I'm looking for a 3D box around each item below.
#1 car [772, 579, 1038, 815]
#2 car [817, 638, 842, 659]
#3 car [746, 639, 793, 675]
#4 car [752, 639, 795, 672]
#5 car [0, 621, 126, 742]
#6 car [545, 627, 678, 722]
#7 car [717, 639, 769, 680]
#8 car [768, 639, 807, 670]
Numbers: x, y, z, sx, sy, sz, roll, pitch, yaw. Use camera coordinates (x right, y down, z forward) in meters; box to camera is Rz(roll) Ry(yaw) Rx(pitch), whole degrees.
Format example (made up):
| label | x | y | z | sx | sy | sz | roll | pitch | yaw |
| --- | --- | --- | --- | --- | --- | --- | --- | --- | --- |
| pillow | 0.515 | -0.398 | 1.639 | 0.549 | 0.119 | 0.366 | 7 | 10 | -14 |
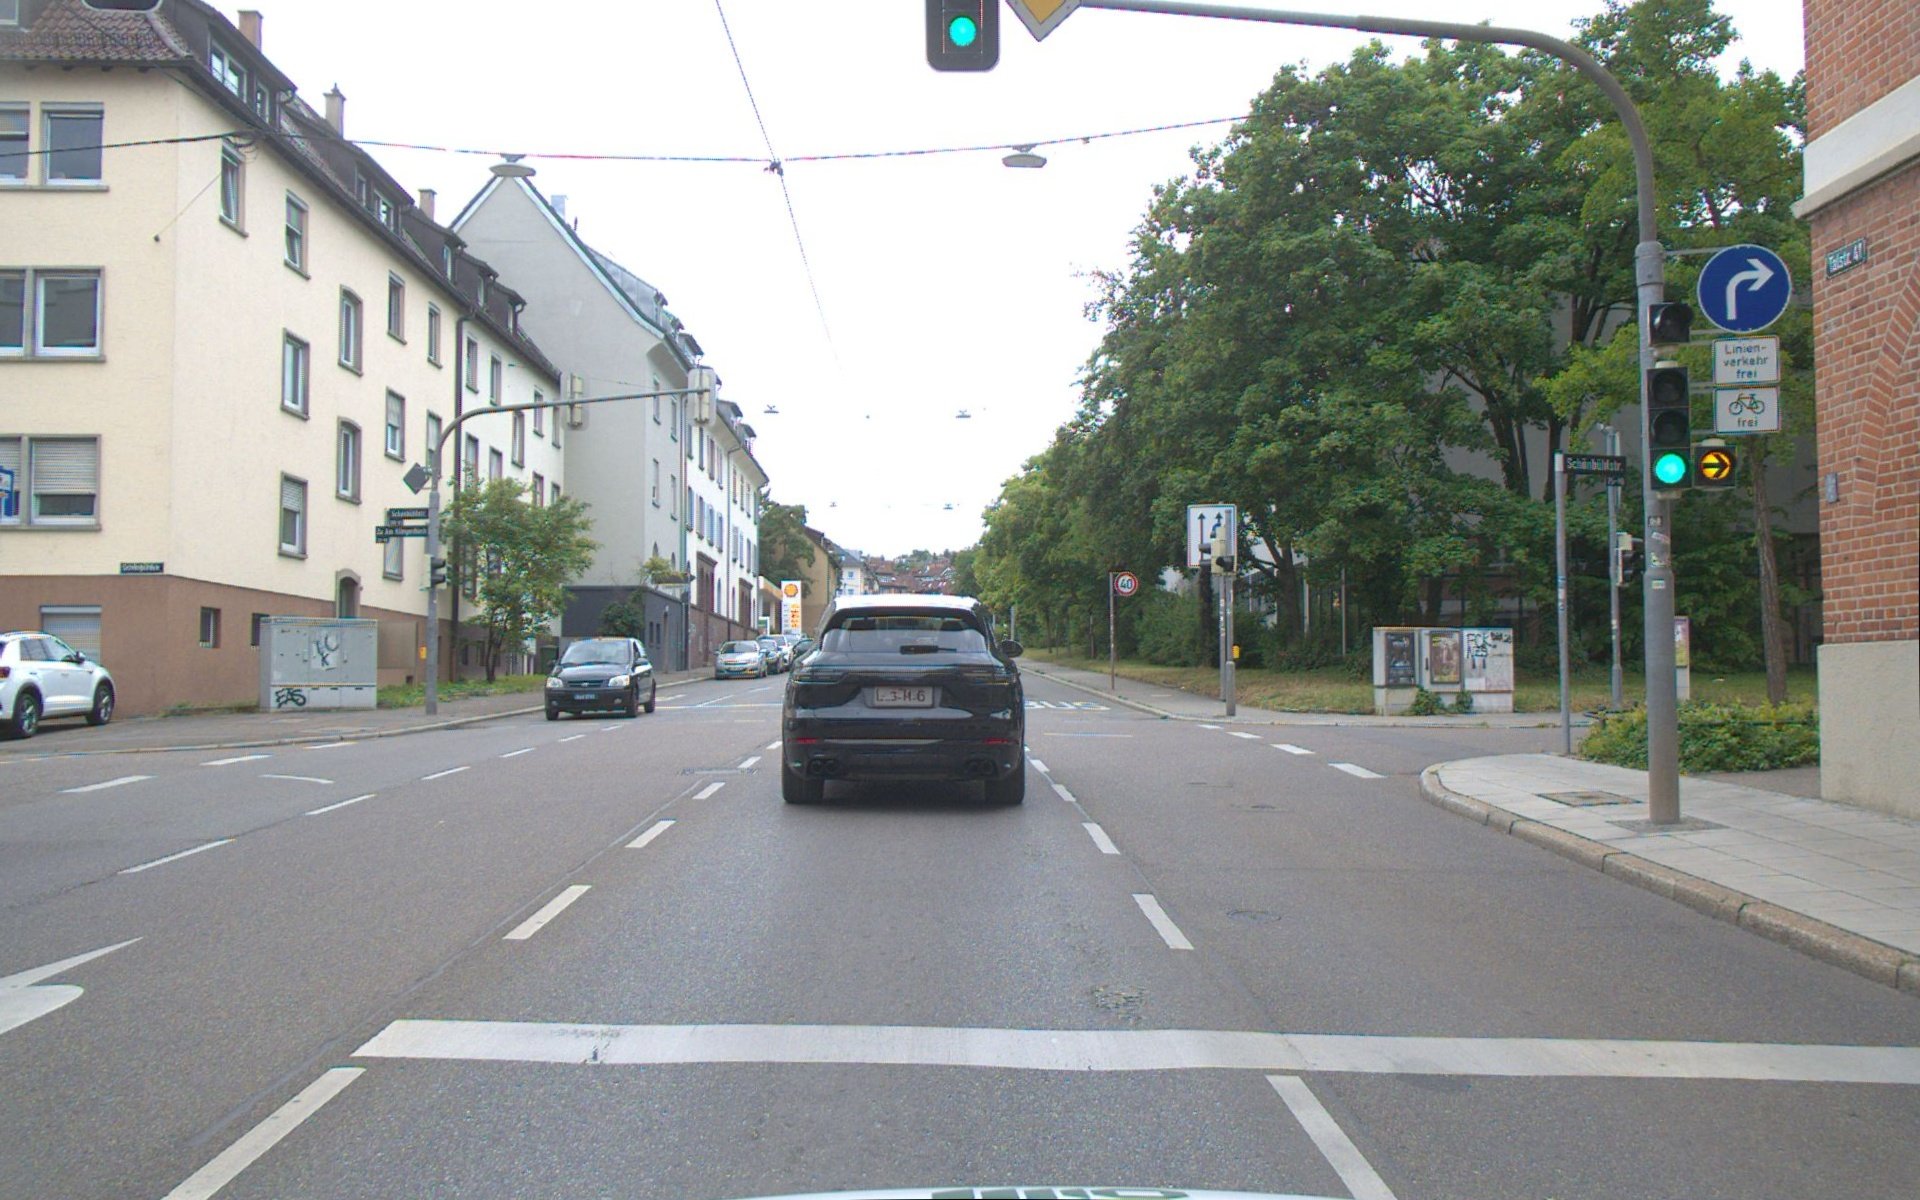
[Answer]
| label | x | y | z | sx | sy | sz | roll | pitch | yaw |
| --- | --- | --- | --- | --- | --- | --- | --- | --- | --- |
| car | -0.437 | 0.736 | 14.365 | 1.953 | 1.726 | 3.999 | 1 | 0 | -1 |
| car | -9.301 | 3.437 | 117.969 | 1.636 | 1.386 | 3.998 | 0 | 0 | -3 |
| car | -7.940 | 2.354 | 69.142 | 1.636 | 1.386 | 3.998 | 0 | 0 | -3 |
| car | -8.453 | 2.501 | 75.125 | 1.636 | 1.386 | 3.998 | 0 | 0 | -3 |
| car | -14.654 | 1.234 | 25.662 | 1.637 | 1.691 | 3.995 | -3 | 0 | -5 |
| car | -6.476 | 1.349 | 31.077 | 1.630 | 1.545 | 3.739 | -3 | 0 | 0 |
| car | -8.033 | 2.188 | 61.506 | 1.637 | 1.386 | 3.997 | 0 | 0 | -4 |
| car | -8.348 | 2.608 | 80.158 | 1.636 | 1.386 | 3.998 | 0 | 0 | -3 |
